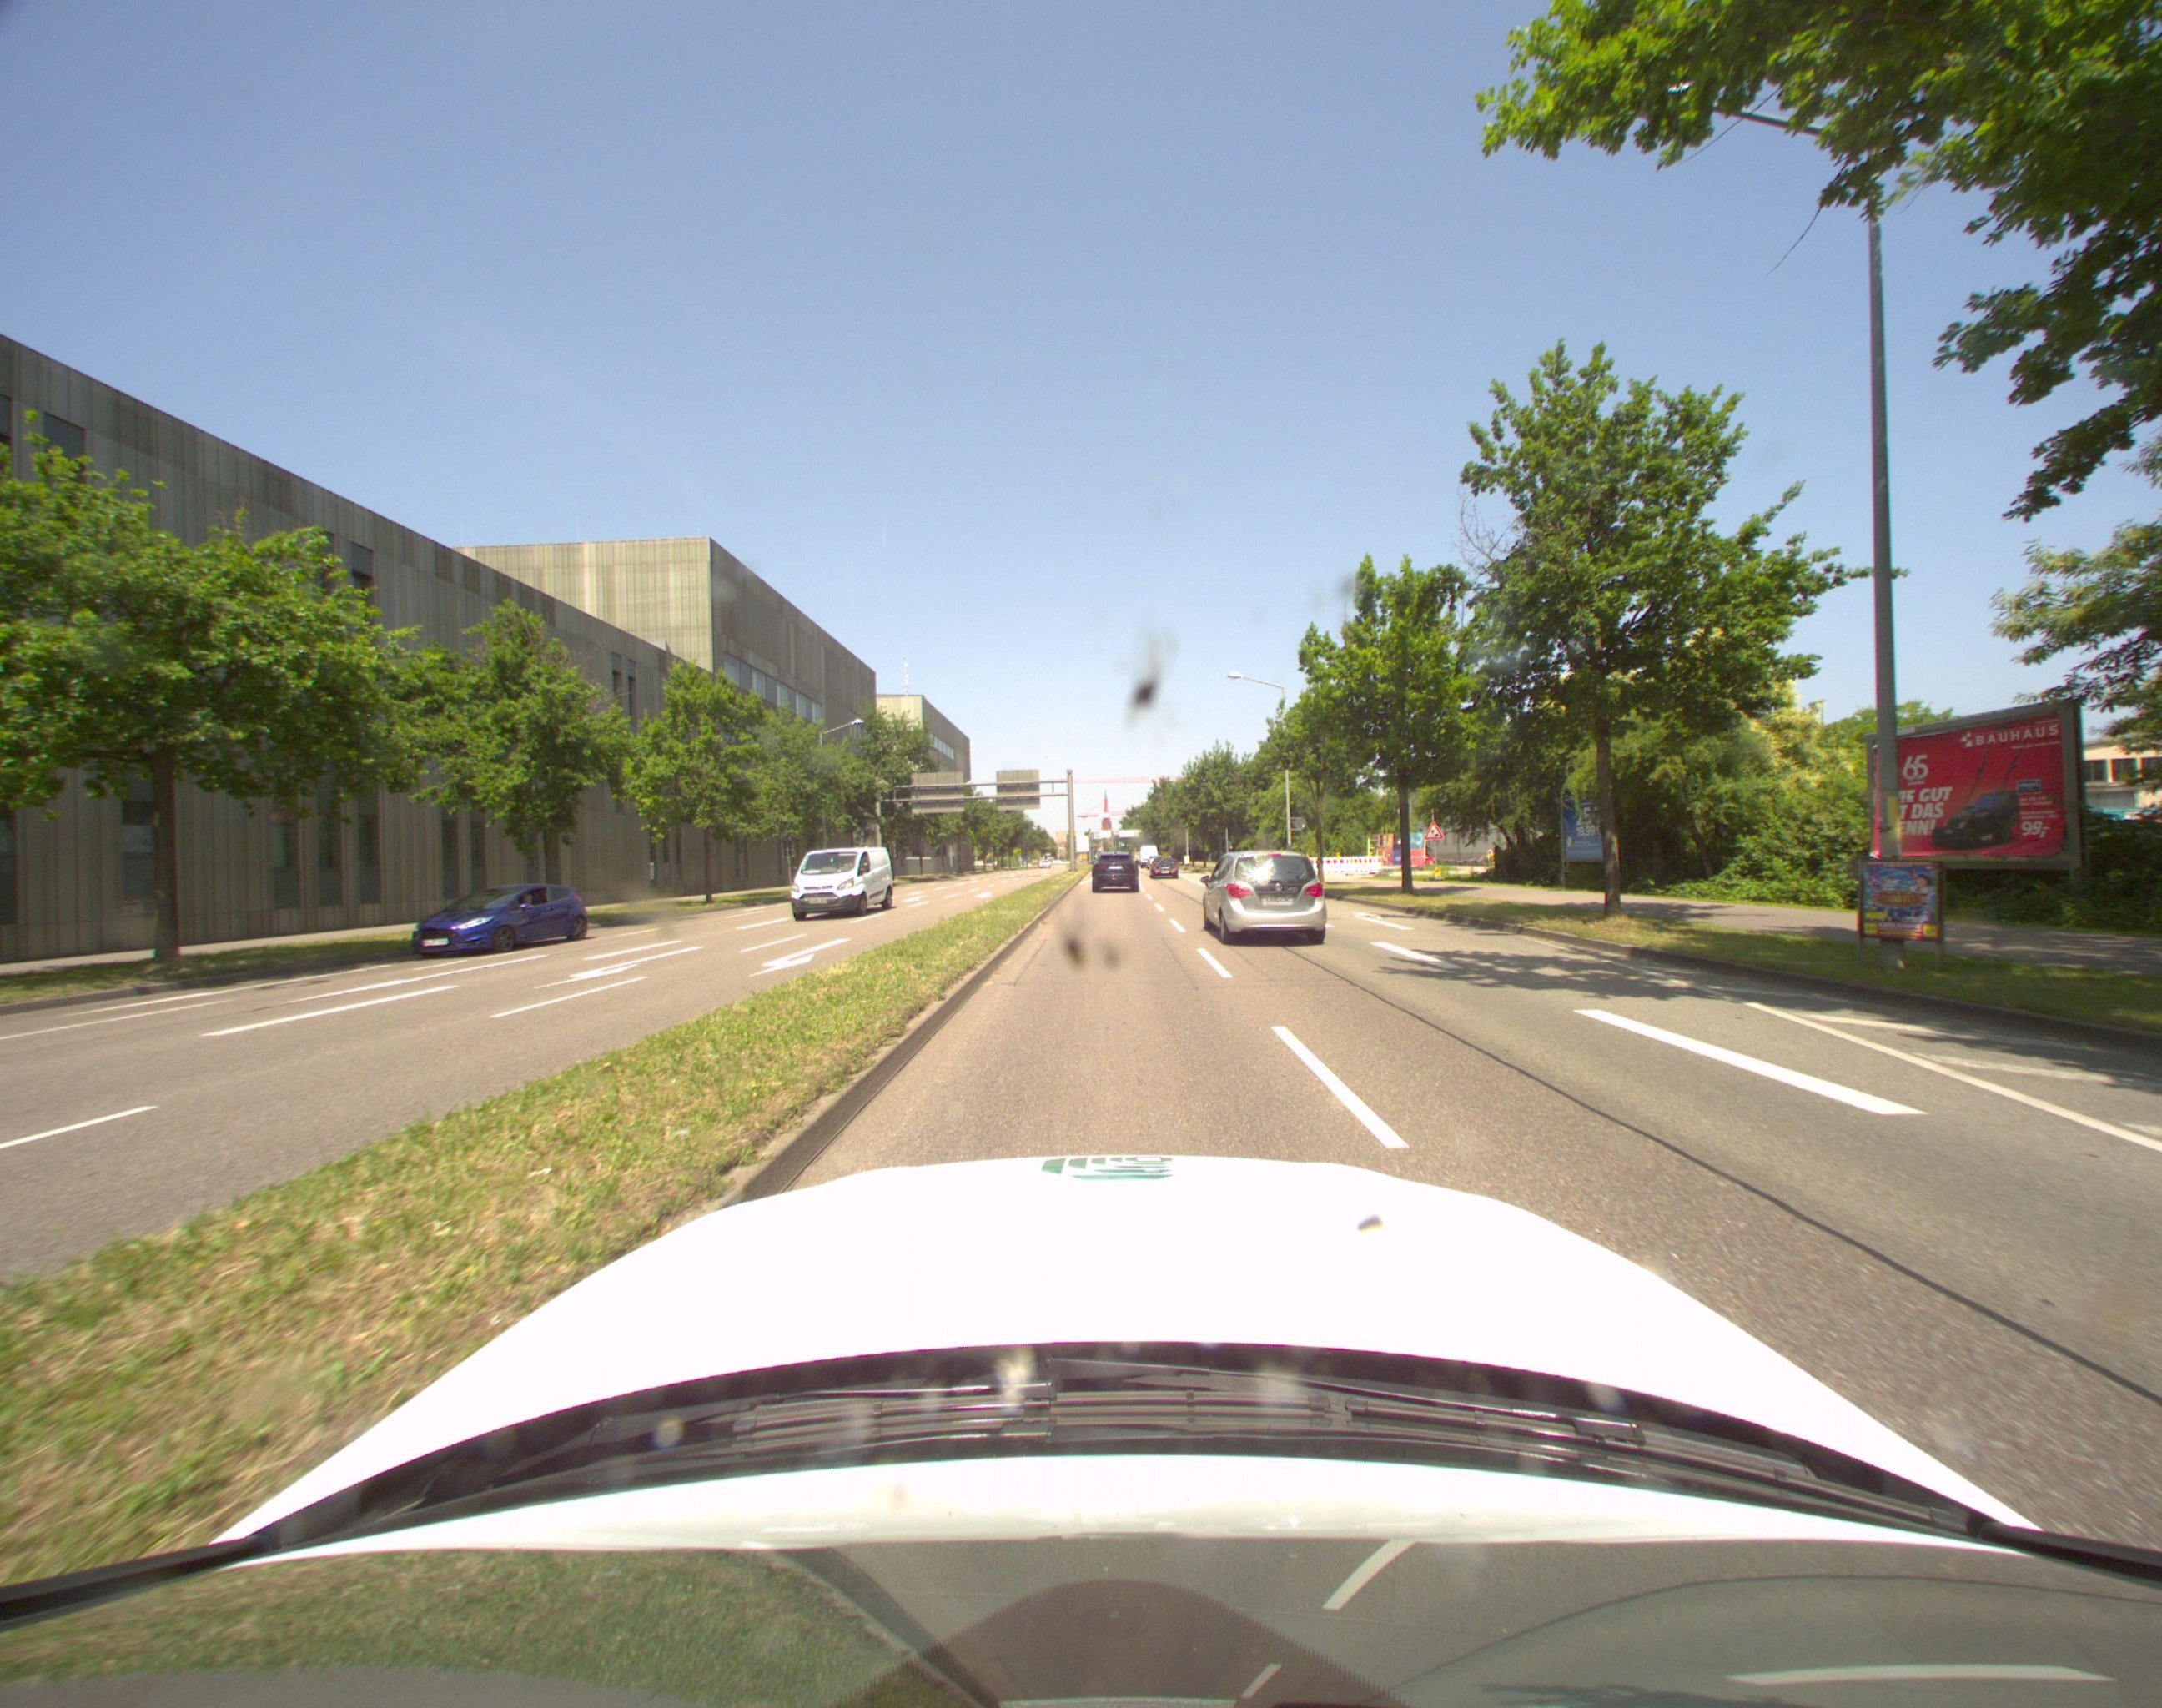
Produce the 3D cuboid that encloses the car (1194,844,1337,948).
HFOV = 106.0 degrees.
[{"bbox_3d":[3.228,0.675,15.016,1.786,1.612,3.891,-2,0,1],"label":"car"}]

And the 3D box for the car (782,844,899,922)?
[{"bbox_3d":[-7.031,0.801,24.394,1.903,1.993,4.898,-3,0,1],"label":"car"}]

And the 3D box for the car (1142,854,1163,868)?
[{"bbox_3d":[7.431,0.748,84.934,1.650,1.356,4.457,-2,-1,-2],"label":"car"}]

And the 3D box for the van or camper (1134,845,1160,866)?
[{"bbox_3d":[7.614,0.176,94.448,2.485,2.291,4.920,-2,-1,0],"label":"van or camper"}]

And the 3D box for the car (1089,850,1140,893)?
[{"bbox_3d":[1.454,0.695,34.304,1.989,1.689,4.037,-1,0,3],"label":"car"}]

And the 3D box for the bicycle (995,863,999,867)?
[{"bbox_3d":[-16.095,2.105,155.959,0.479,0.715,1.853,-2,-1,5],"label":"bicycle"}]

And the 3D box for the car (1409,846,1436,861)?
[{"bbox_3d":[29.097,-0.051,69.455,1.372,1.187,3.310,-2,0,8],"label":"car"}]

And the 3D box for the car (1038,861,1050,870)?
[{"bbox_3d":[-6.537,1.969,145.150,1.804,1.427,4.358,-3,0,0],"label":"car"}]

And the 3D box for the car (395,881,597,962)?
[{"bbox_3d":[-12.966,1.423,18.396,1.615,1.456,4.016,-2,0,0],"label":"car"}]

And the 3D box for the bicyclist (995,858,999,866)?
[{"bbox_3d":[-16.111,1.592,155.768,0.620,1.489,0.758,-2,-1,5],"label":"bicyclist"}]

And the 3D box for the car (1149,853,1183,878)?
[{"bbox_3d":[5.462,0.741,52.744,2.005,1.517,4.465,-2,-1,4],"label":"car"}]
